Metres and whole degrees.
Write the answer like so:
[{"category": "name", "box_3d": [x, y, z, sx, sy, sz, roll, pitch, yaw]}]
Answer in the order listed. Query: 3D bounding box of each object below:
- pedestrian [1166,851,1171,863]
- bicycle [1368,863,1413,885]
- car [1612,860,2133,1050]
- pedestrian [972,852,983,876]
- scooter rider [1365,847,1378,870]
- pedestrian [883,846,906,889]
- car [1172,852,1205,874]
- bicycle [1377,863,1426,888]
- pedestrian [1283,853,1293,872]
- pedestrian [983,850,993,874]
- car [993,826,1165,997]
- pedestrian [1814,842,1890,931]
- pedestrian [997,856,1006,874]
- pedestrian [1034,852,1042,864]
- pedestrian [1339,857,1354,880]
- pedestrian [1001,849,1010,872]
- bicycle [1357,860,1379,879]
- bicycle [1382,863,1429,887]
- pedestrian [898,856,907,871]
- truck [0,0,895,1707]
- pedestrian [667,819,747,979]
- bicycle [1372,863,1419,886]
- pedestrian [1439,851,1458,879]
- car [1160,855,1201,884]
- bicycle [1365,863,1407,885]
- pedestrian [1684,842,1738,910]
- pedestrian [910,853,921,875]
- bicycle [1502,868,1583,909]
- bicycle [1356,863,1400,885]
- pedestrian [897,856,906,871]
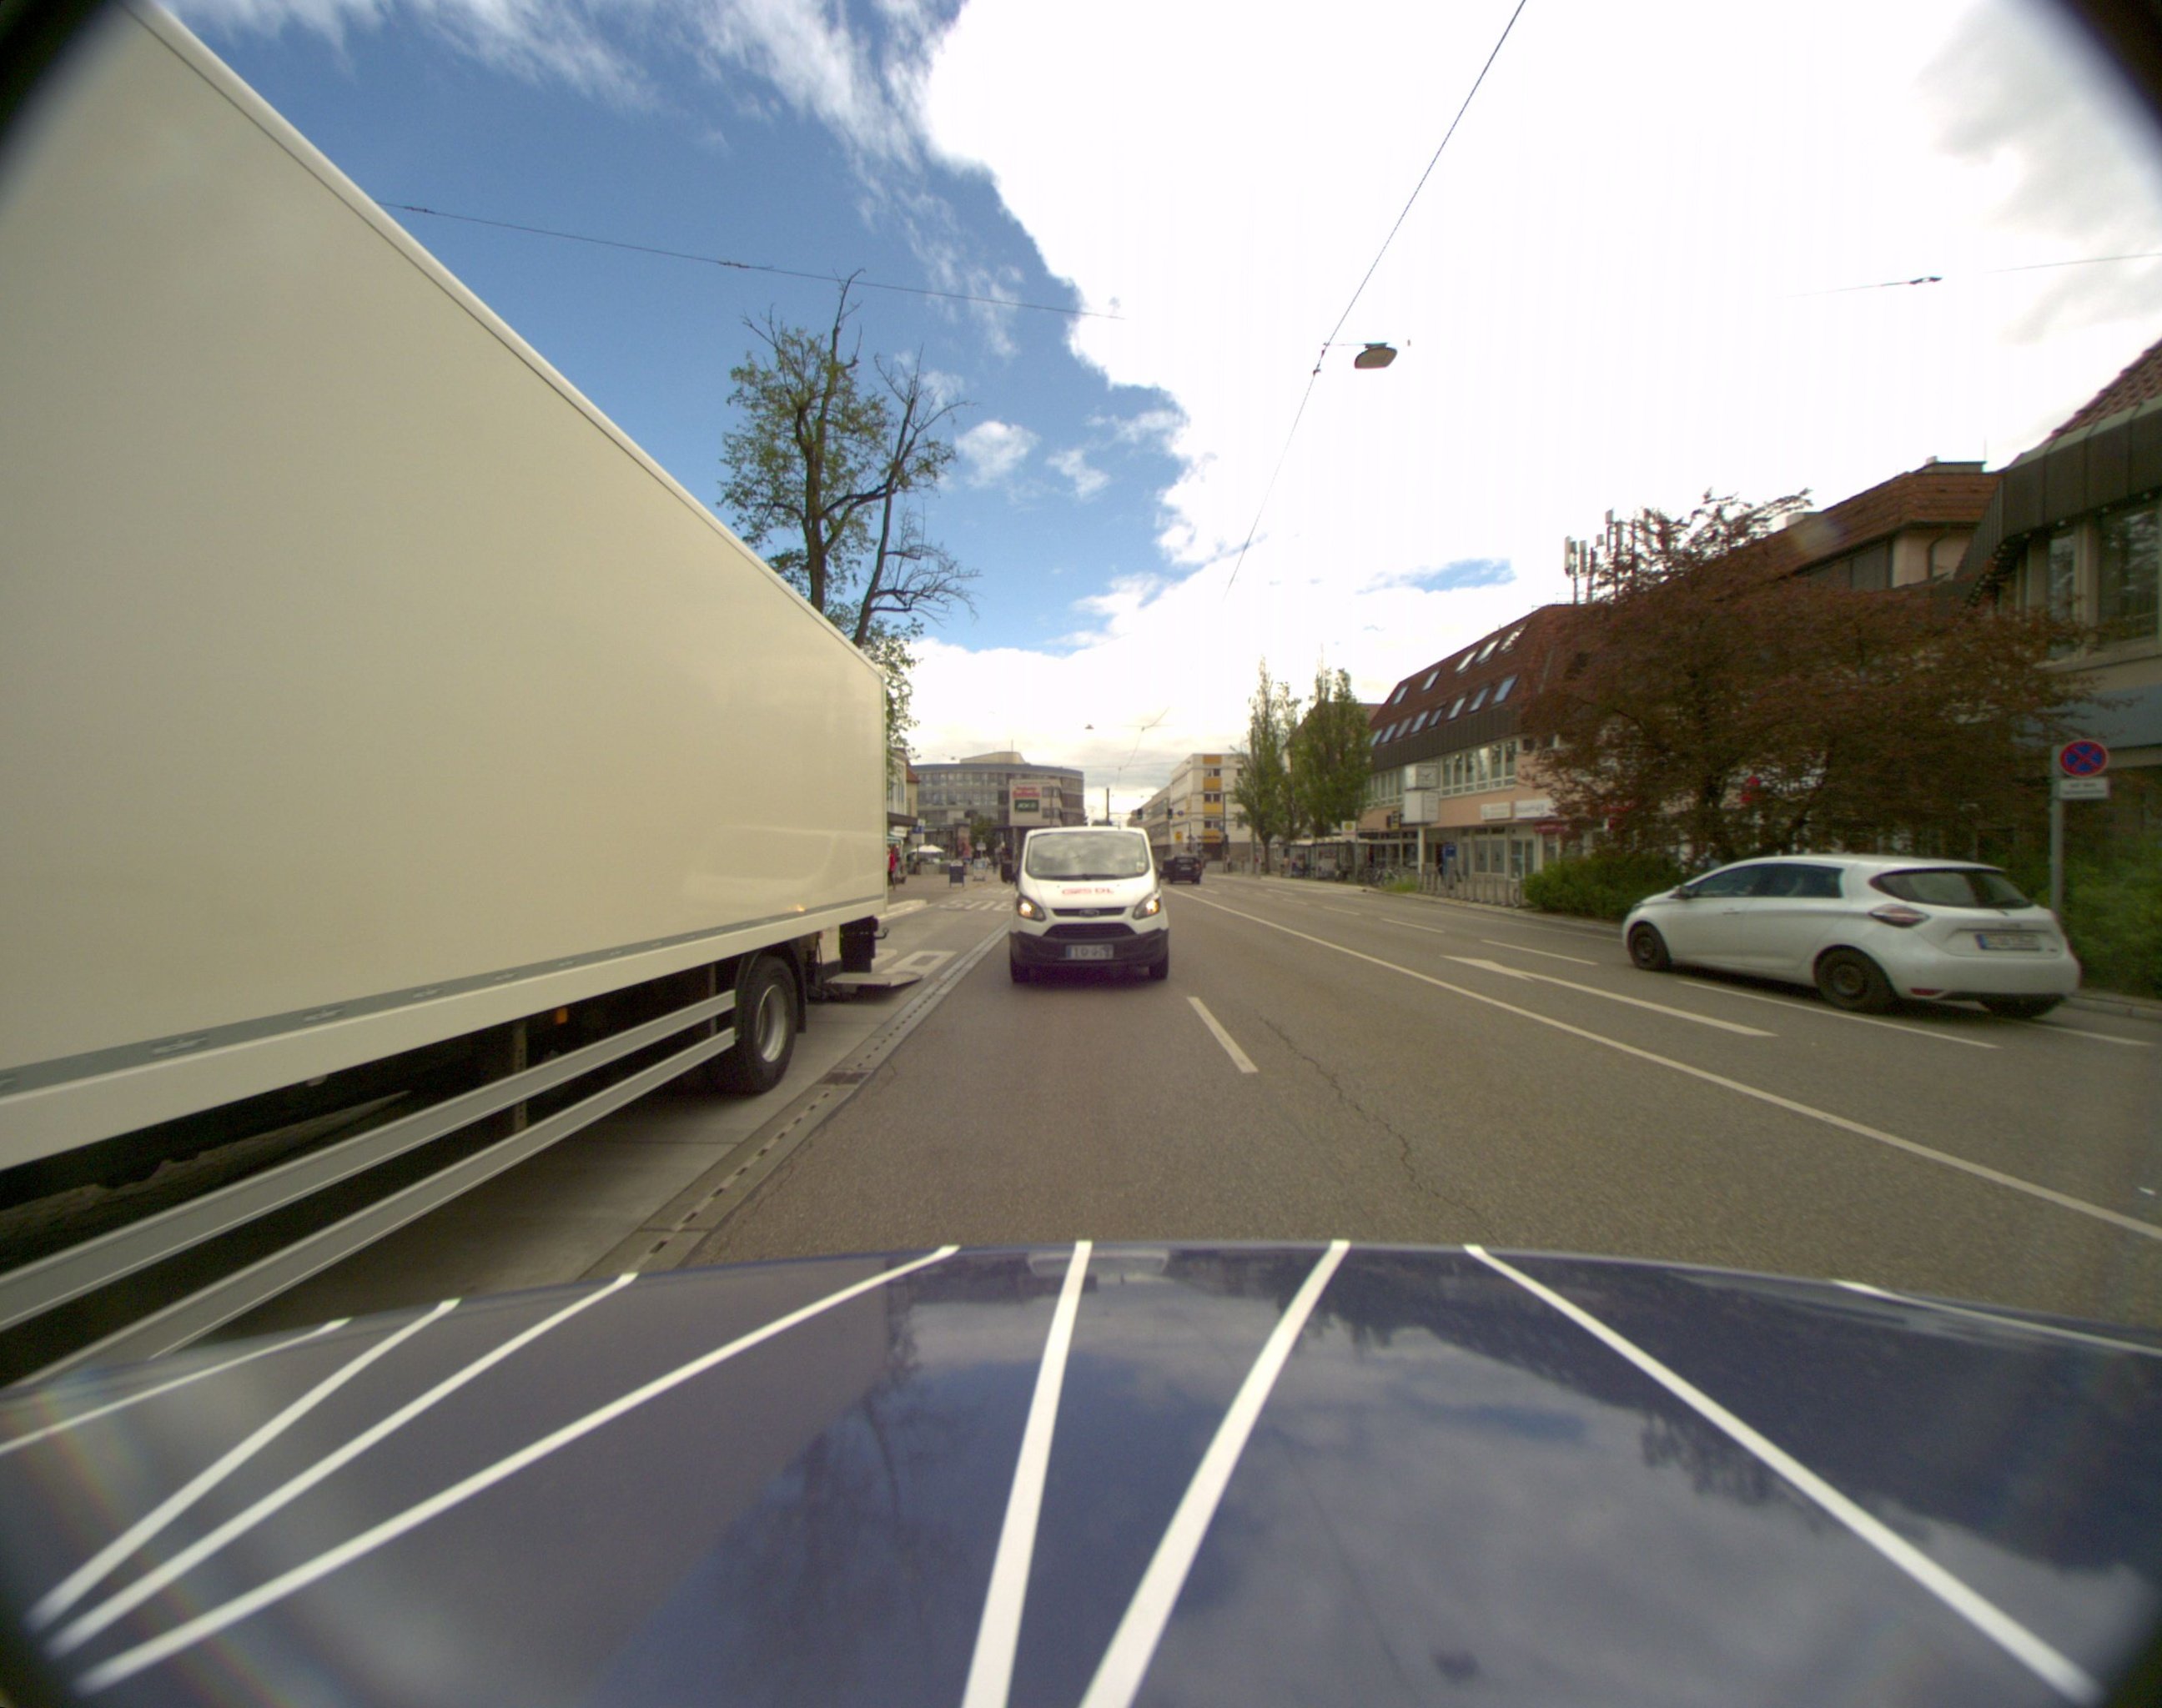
[{"category": "pedestrian", "box_3d": [13.383, 0.524, 116.683, 0.587, 1.792, 0.526, -3, 0, 0]}, {"category": "bicycle", "box_3d": [15.349, 0.979, 37.647, 2.024, 1.084, 0.648, 0, 0, -9]}, {"category": "car", "box_3d": [8.120, 0.882, 8.439, 1.644, 1.559, 3.926, 1, 0, -1]}, {"category": "pedestrian", "box_3d": [-7.077, 0.667, 51.998, 0.720, 1.625, 0.615, 0, 1, -3]}, {"category": "scooter rider", "box_3d": [21.448, 0.325, 56.081, 0.615, 1.702, 0.588, -3, 0, -3]}, {"category": "pedestrian", "box_3d": [-7.681, 0.536, 31.330, 0.797, 1.732, 0.781, 1, 2, -5]}, {"category": "car", "box_3d": [8.681, 0.713, 61.859, 2.074, 1.728, 4.693, 1, 0, 1]}, {"category": "bicycle", "box_3d": [14.695, 0.972, 34.855, 2.024, 1.084, 0.648, 0, 0, -9]}, {"category": "pedestrian", "box_3d": [18.229, 0.769, 66.963, 0.587, 1.625, 0.615, -3, 0, -2]}, {"category": "pedestrian", "box_3d": [-6.381, 0.559, 52.002, 0.614, 1.625, 0.615, 0, 1, -3]}, {"category": "car", "box_3d": [0.113, 0.690, 11.485, 1.998, 2.002, 5.000, -1, 0, 3]}, {"category": "pedestrian", "box_3d": [15.853, 0.649, 15.640, 0.727, 1.753, 0.755, -3, 0, -2]}, {"category": "pedestrian", "box_3d": [-7.015, 0.965, 67.208, 0.689, 1.625, 0.853, 0, 0, -1]}, {"category": "pedestrian", "box_3d": [-6.175, 0.558, 109.565, 0.808, 1.637, 0.886, -1, 1, -34]}, {"category": "pedestrian", "box_3d": [16.029, 0.868, 45.838, 0.713, 1.356, 0.588, -1, 0, 2]}, {"category": "pedestrian", "box_3d": [-5.569, 0.493, 56.064, 0.613, 1.668, 0.615, 0, 0, 2]}, {"category": "bicycle", "box_3d": [16.854, 0.916, 44.669, 0.535, 1.084, 1.930, -1, 0, -2]}, {"category": "bicycle", "box_3d": [15.257, 0.970, 35.745, 2.024, 1.084, 0.648, 0, 0, -9]}, {"category": "pedestrian", "box_3d": [-14.796, 0.752, 62.975, 0.614, 1.213, 0.588, -3, 0, -2]}, {"category": "truck", "box_3d": [-3.308, -0.138, 3.026, 2.695, 3.540, 9.766, 0, 0, 0]}, {"category": "pedestrian", "box_3d": [-4.261, 0.496, 8.685, 0.615, 1.770, 0.587, 0, 2, -3]}, {"category": "bicycle", "box_3d": [15.076, 0.979, 36.440, 2.024, 1.084, 0.648, 0, 0, -9]}, {"category": "pedestrian", "box_3d": [20.547, 0.625, 42.492, 0.713, 1.538, 0.588, -1, 0, -1]}, {"category": "car", "box_3d": [5.409, 0.836, 41.505, 1.575, 1.531, 2.959, 0, 0, -6]}, {"category": "bicycle", "box_3d": [15.909, 1.052, 39.630, 2.025, 1.084, 0.648, -1, 1, -14]}, {"category": "pedestrian", "box_3d": [17.013, 0.586, 20.540, 0.727, 1.753, 0.755, -5, 0, 4]}, {"category": "pedestrian", "box_3d": [-12.105, 0.708, 55.585, 0.668, 1.625, 0.800, 0, 0, -2]}, {"category": "bicycle", "box_3d": [12.988, 0.963, 21.393, 2.024, 1.084, 0.648, 0, 0, -9]}, {"category": "bicycle", "box_3d": [15.108, 1.029, 38.702, 2.024, 1.084, 0.649, 0, 0, -5]}, {"category": "pedestrian", "box_3d": [-14.746, 0.752, 62.346, 0.614, 1.213, 0.588, 1, 0, -2]}]
